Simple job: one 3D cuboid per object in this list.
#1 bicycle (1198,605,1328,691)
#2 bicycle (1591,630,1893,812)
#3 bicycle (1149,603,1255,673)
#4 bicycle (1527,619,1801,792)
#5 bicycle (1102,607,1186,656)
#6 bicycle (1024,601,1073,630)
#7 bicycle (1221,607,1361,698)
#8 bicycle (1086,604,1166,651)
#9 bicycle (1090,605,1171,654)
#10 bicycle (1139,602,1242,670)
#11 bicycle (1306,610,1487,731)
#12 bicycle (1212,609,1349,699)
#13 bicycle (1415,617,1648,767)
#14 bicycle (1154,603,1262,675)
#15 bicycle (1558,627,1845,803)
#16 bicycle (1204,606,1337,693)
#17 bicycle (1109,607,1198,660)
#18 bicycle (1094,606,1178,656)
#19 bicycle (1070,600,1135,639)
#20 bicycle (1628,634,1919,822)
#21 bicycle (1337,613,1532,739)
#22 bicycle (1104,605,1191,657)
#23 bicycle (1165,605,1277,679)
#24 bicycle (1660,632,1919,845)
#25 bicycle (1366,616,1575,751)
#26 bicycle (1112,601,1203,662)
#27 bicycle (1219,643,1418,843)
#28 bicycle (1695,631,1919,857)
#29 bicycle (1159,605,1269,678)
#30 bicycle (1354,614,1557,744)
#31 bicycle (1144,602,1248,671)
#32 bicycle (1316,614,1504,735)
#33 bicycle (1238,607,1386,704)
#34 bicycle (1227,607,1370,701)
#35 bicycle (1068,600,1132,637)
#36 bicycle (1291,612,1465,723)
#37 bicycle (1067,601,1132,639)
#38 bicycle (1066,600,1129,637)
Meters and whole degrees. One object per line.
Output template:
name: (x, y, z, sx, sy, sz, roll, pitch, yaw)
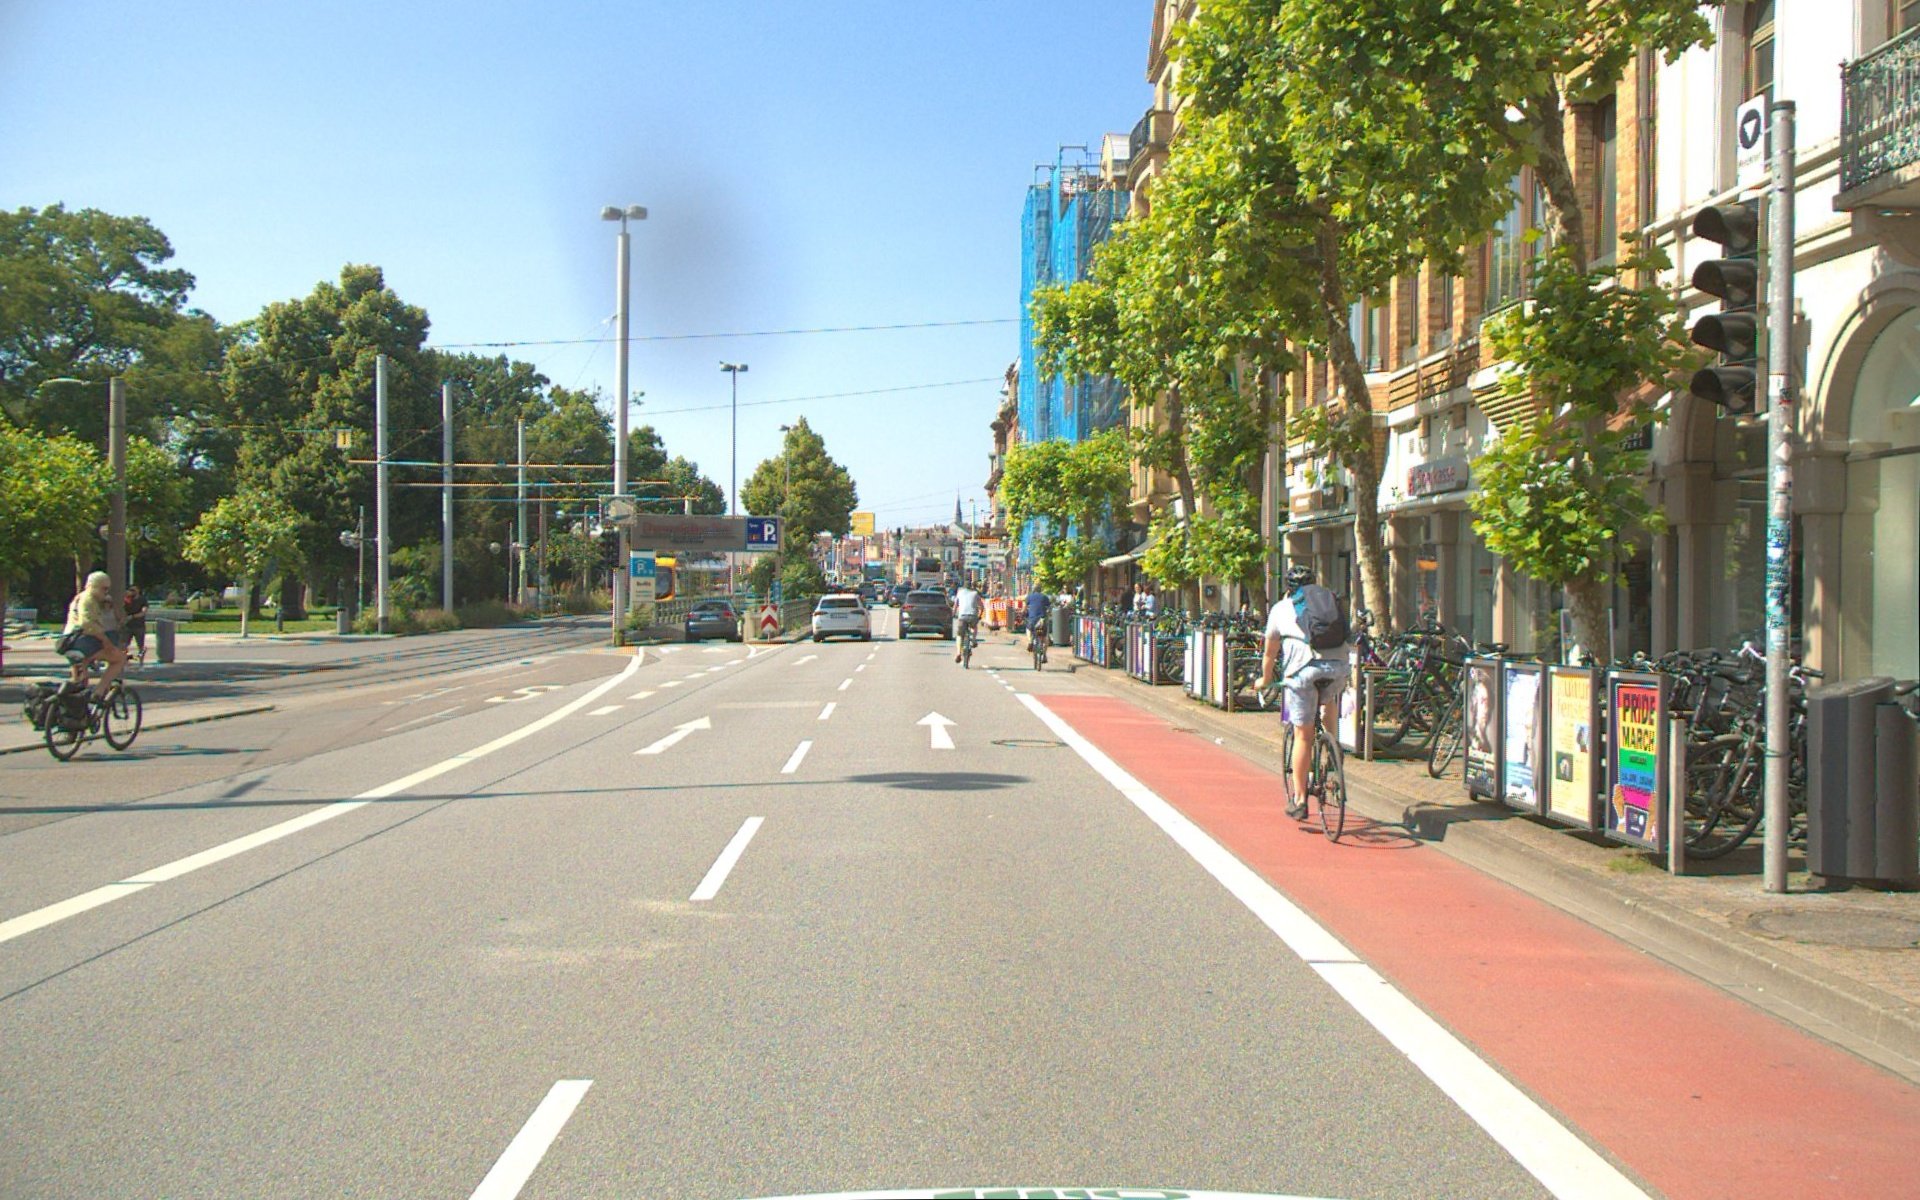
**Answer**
bicycle: (4.214, 0.665, 23.060, 1.718, 1.167, 0.482, 0, 0, -4)
bicycle: (4.945, 0.757, 10.497, 1.718, 1.106, 0.482, 0, 0, -4)
bicycle: (4.102, 0.645, 28.040, 1.718, 1.167, 0.482, 0, 0, -4)
bicycle: (4.881, 0.721, 11.501, 1.718, 1.167, 0.482, 0, 0, -4)
bicycle: (3.832, 0.650, 34.522, 1.683, 1.002, 0.482, 0, 0, -4)
bicycle: (3.176, 0.545, 59.328, 1.718, 1.036, 0.482, 0, 0, -4)
bicycle: (4.306, 0.680, 21.554, 1.718, 1.167, 0.482, 0, 0, -4)
bicycle: (3.690, 0.617, 36.889, 1.718, 1.036, 0.482, 0, 0, -4)
bicycle: (3.740, 0.646, 36.333, 1.718, 1.036, 0.482, 0, 0, -4)
bicycle: (4.041, 0.634, 29.044, 1.718, 1.167, 0.482, 0, 0, -4)
bicycle: (4.445, 0.714, 16.880, 1.718, 1.208, 0.482, 0, 0, -4)
bicycle: (4.265, 0.713, 22.052, 1.718, 1.167, 0.482, 0, 0, -4)
bicycle: (4.578, 0.730, 13.288, 1.718, 1.167, 0.482, 0, 0, -4)
bicycle: (4.129, 0.645, 27.555, 1.718, 1.167, 0.482, 0, 0, -4)
bicycle: (4.915, 0.753, 10.994, 1.718, 1.124, 0.482, 0, 0, -4)
bicycle: (4.226, 0.669, 22.552, 1.718, 1.167, 0.482, 0, 0, -4)
bicycle: (3.861, 0.666, 33.039, 1.718, 1.036, 0.482, 0, 0, -4)
bicycle: (3.743, 0.662, 35.183, 1.718, 1.036, 0.482, 0, 0, -4)
bicycle: (3.936, 0.536, 45.672, 1.718, 1.036, 0.482, 0, 0, -4)
bicycle: (4.980, 0.761, 9.992, 1.718, 1.087, 0.482, 0, 0, -4)
bicycle: (4.512, 0.716, 15.764, 1.718, 1.167, 0.482, 0, 0, -4)
bicycle: (3.822, 0.635, 33.793, 1.718, 1.036, 0.482, 0, 0, -4)
bicycle: (4.182, 0.668, 26.544, 1.718, 1.167, 0.482, 0, -1, -4)
bicycle: (4.952, 0.776, 9.459, 1.718, 1.167, 0.482, 0, 0, -4)
bicycle: (4.528, 0.736, 14.716, 1.718, 1.167, 0.482, 0, 0, -4)
bicycle: (3.870, 0.615, 32.443, 1.718, 1.167, 0.482, 0, 0, -4)
bicycle: (2.322, 0.889, 10.998, 0.719, 1.112, 2.129, 2, 0, -3)
bicycle: (4.933, 0.764, 8.957, 1.718, 1.167, 0.482, 0, 0, -4)
bicycle: (4.147, 0.676, 27.057, 1.718, 1.167, 0.482, 0, 0, -4)
bicycle: (4.553, 0.720, 15.247, 1.718, 1.167, 0.527, 0, 0, -4)
bicycle: (4.067, 0.629, 28.547, 1.718, 1.167, 0.482, 0, 0, -4)
bicycle: (4.427, 0.731, 16.305, 1.718, 1.167, 0.482, 0, 0, -4)
bicycle: (4.353, 0.683, 20.484, 1.718, 1.167, 0.499, 0, 0, -4)
bicycle: (4.307, 0.679, 21.059, 1.718, 1.167, 0.482, 0, 0, -4)
bicycle: (3.906, 0.513, 46.282, 1.718, 1.036, 0.586, 0, 0, -4)
bicycle: (4.396, 0.703, 17.434, 1.718, 1.143, 0.482, 0, 0, -4)
bicycle: (3.811, 0.539, 45.142, 1.718, 1.036, 0.482, 0, 0, -4)
bicycle: (3.906, 0.532, 46.902, 1.718, 1.036, 0.556, 0, 0, -4)
